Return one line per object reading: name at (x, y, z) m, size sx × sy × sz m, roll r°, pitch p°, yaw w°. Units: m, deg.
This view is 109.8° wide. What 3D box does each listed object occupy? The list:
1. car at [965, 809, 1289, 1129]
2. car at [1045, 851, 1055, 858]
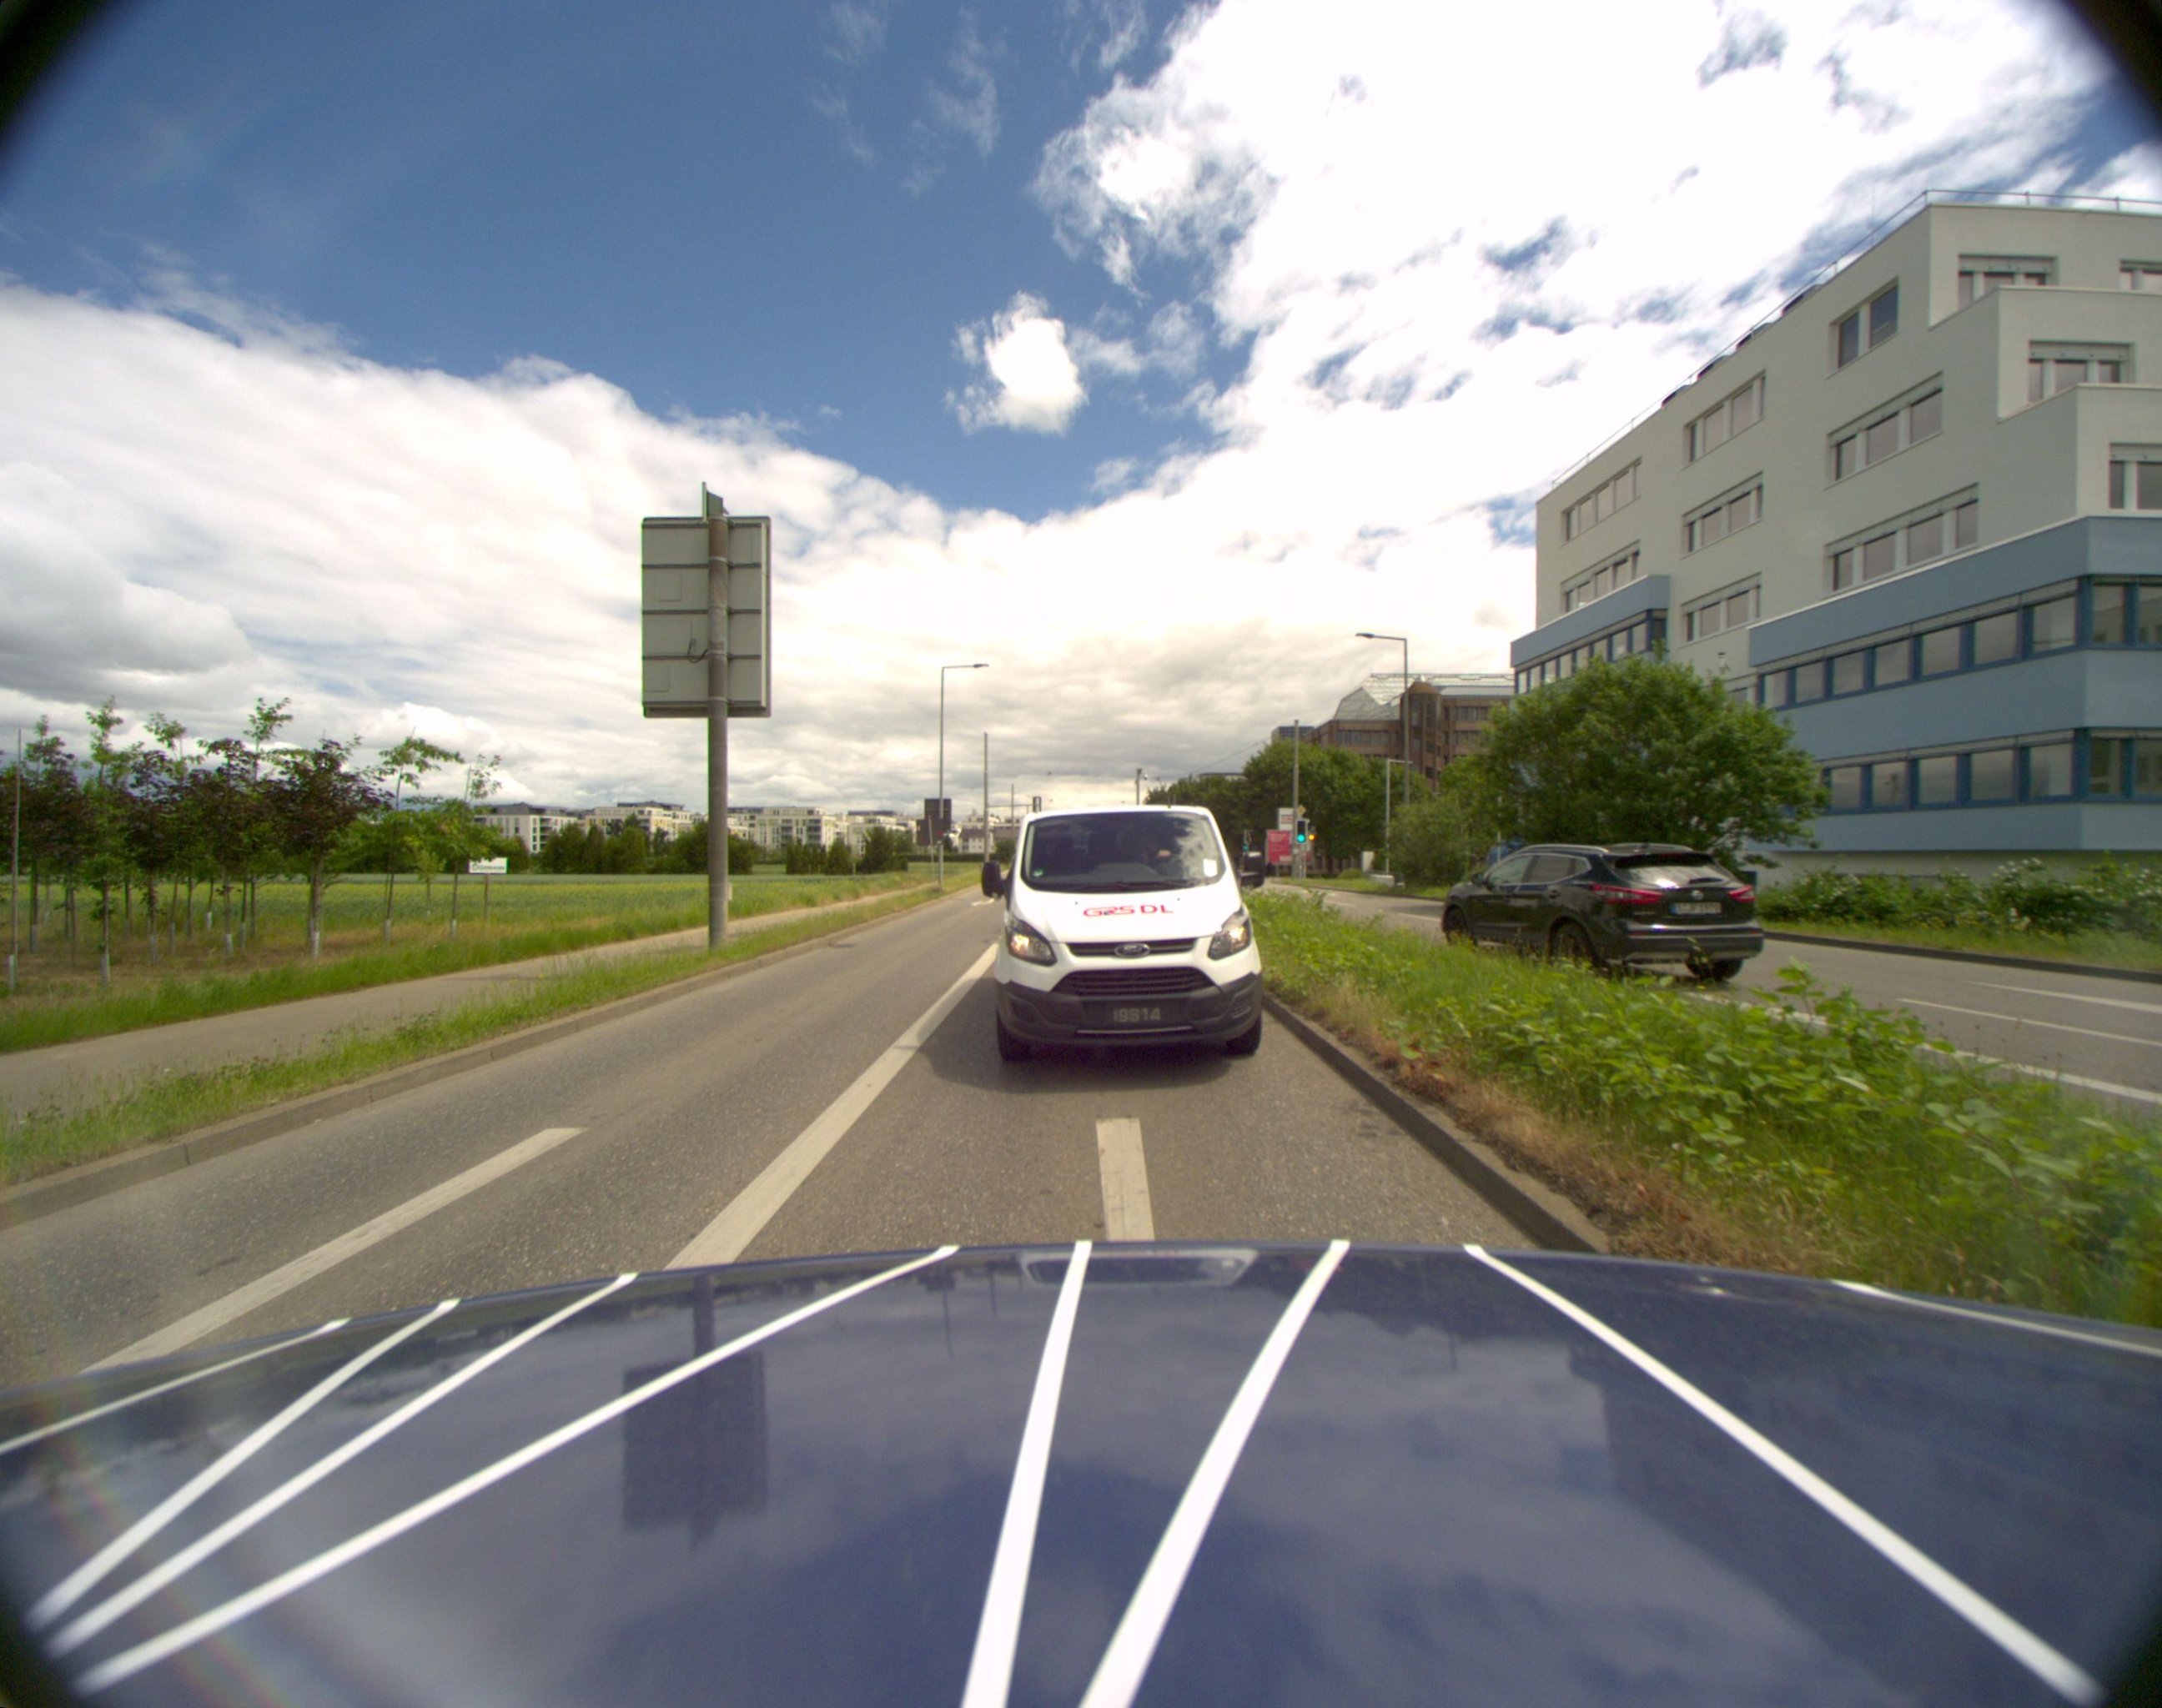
car at (0.321, 0.713, 7.249) m, size 1.968 × 1.938 × 5.055 m, roll -2°, pitch 0°, yaw 1°
car at (-5.880, 0.075, 142.940) m, size 1.683 × 1.410 × 3.739 m, roll -1°, pitch 1°, yaw -1°
